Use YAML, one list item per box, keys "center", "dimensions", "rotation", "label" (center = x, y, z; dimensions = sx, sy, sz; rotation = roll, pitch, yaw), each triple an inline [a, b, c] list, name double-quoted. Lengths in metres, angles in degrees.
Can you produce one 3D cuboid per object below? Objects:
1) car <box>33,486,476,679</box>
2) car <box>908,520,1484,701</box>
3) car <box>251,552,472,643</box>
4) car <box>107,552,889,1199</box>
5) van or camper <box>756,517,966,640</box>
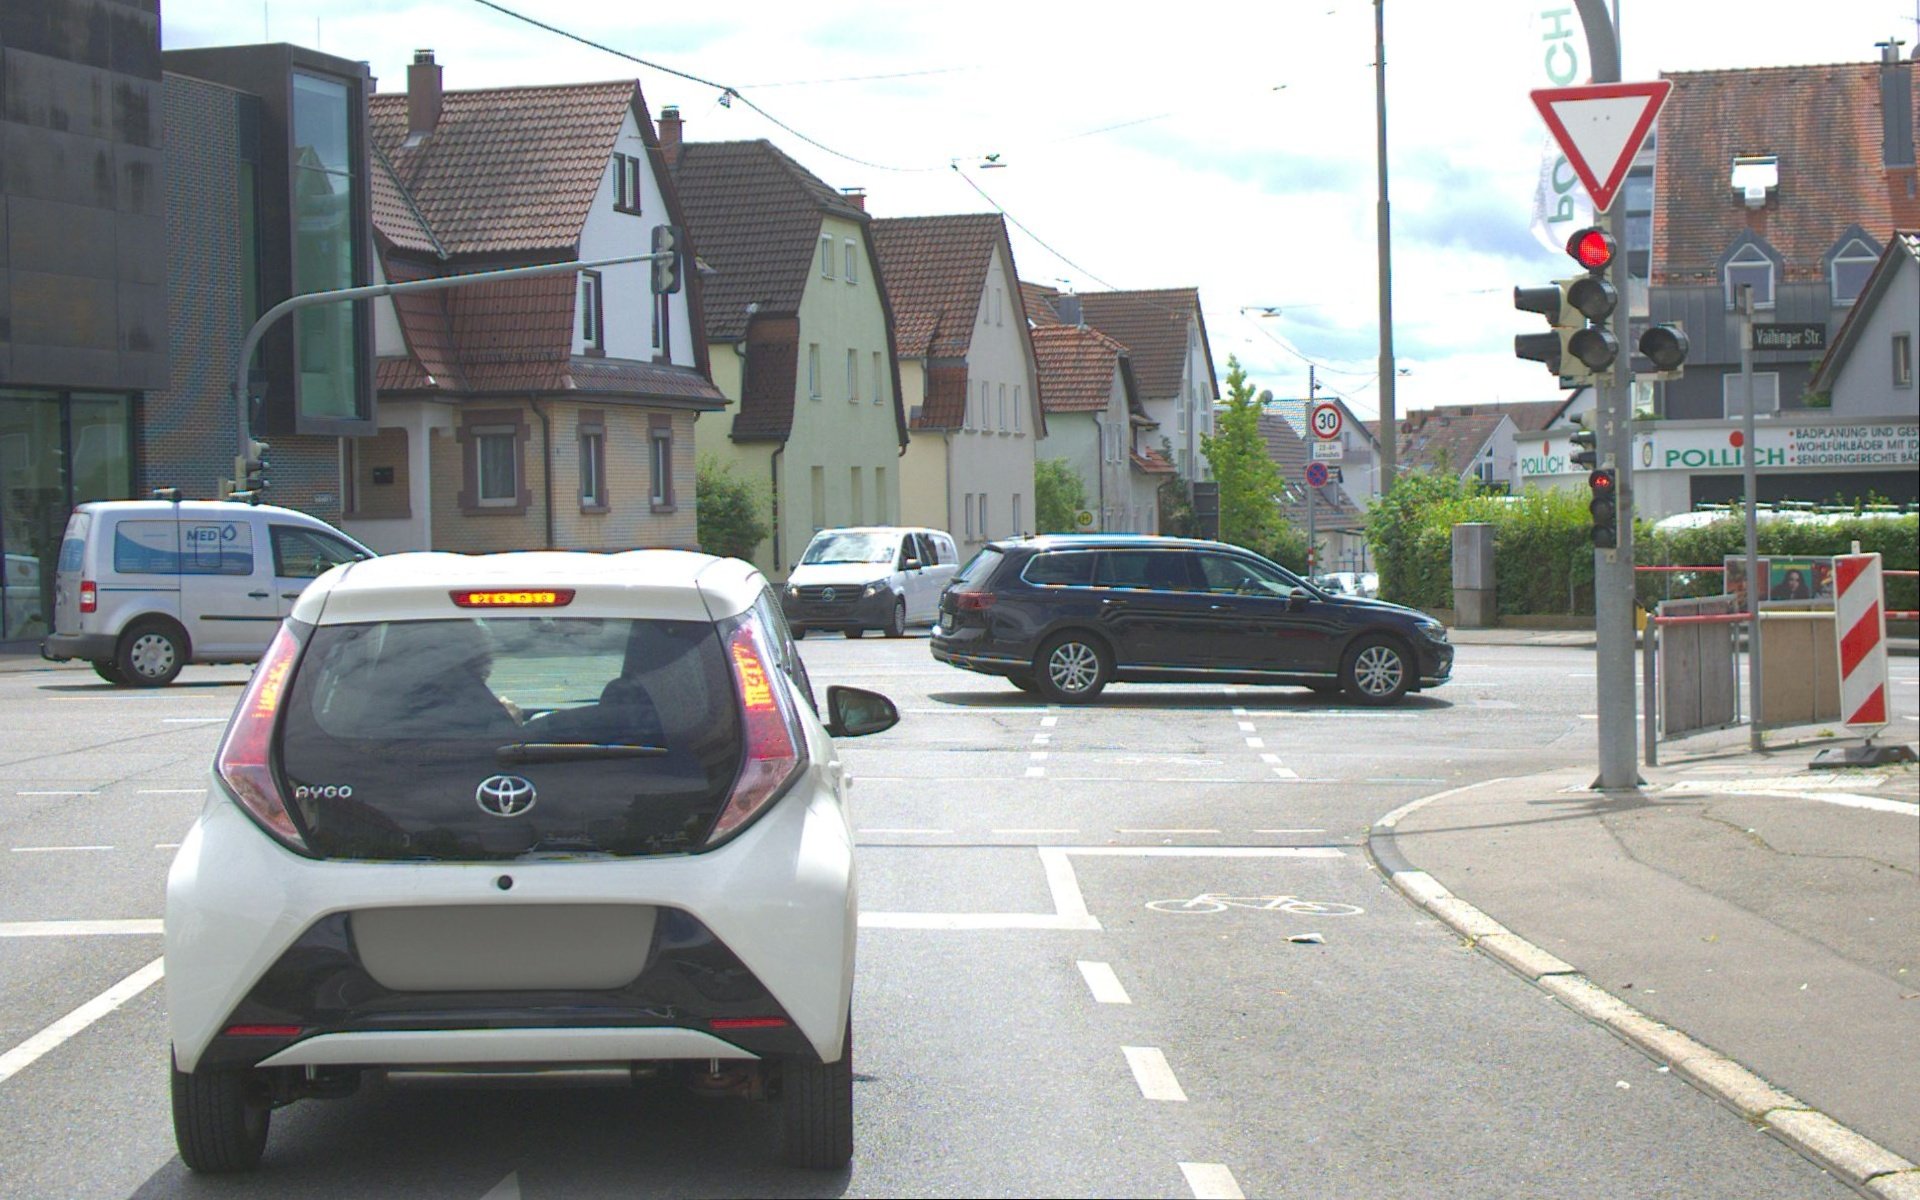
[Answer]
- center: [-7.109, -0.178, 34.569]
  dimensions: [4.058, 1.842, 2.001]
  rotation: [0, 1, -22]
  label: "car"
- center: [2.087, 0.076, 31.229]
  dimensions: [4.895, 1.572, 2.001]
  rotation: [0, 1, -8]
  label: "car"
- center: [-10.940, -0.058, 62.916]
  dimensions: [3.616, 1.600, 1.691]
  rotation: [1, 1, 11]
  label: "car"
- center: [-1.089, 0.610, 9.195]
  dimensions: [1.697, 1.451, 3.299]
  rotation: [1, 1, -3]
  label: "car"
- center: [-1.580, -0.382, 57.190]
  dimensions: [2.117, 1.919, 5.282]
  rotation: [1, 1, 14]
  label: "van or camper"
